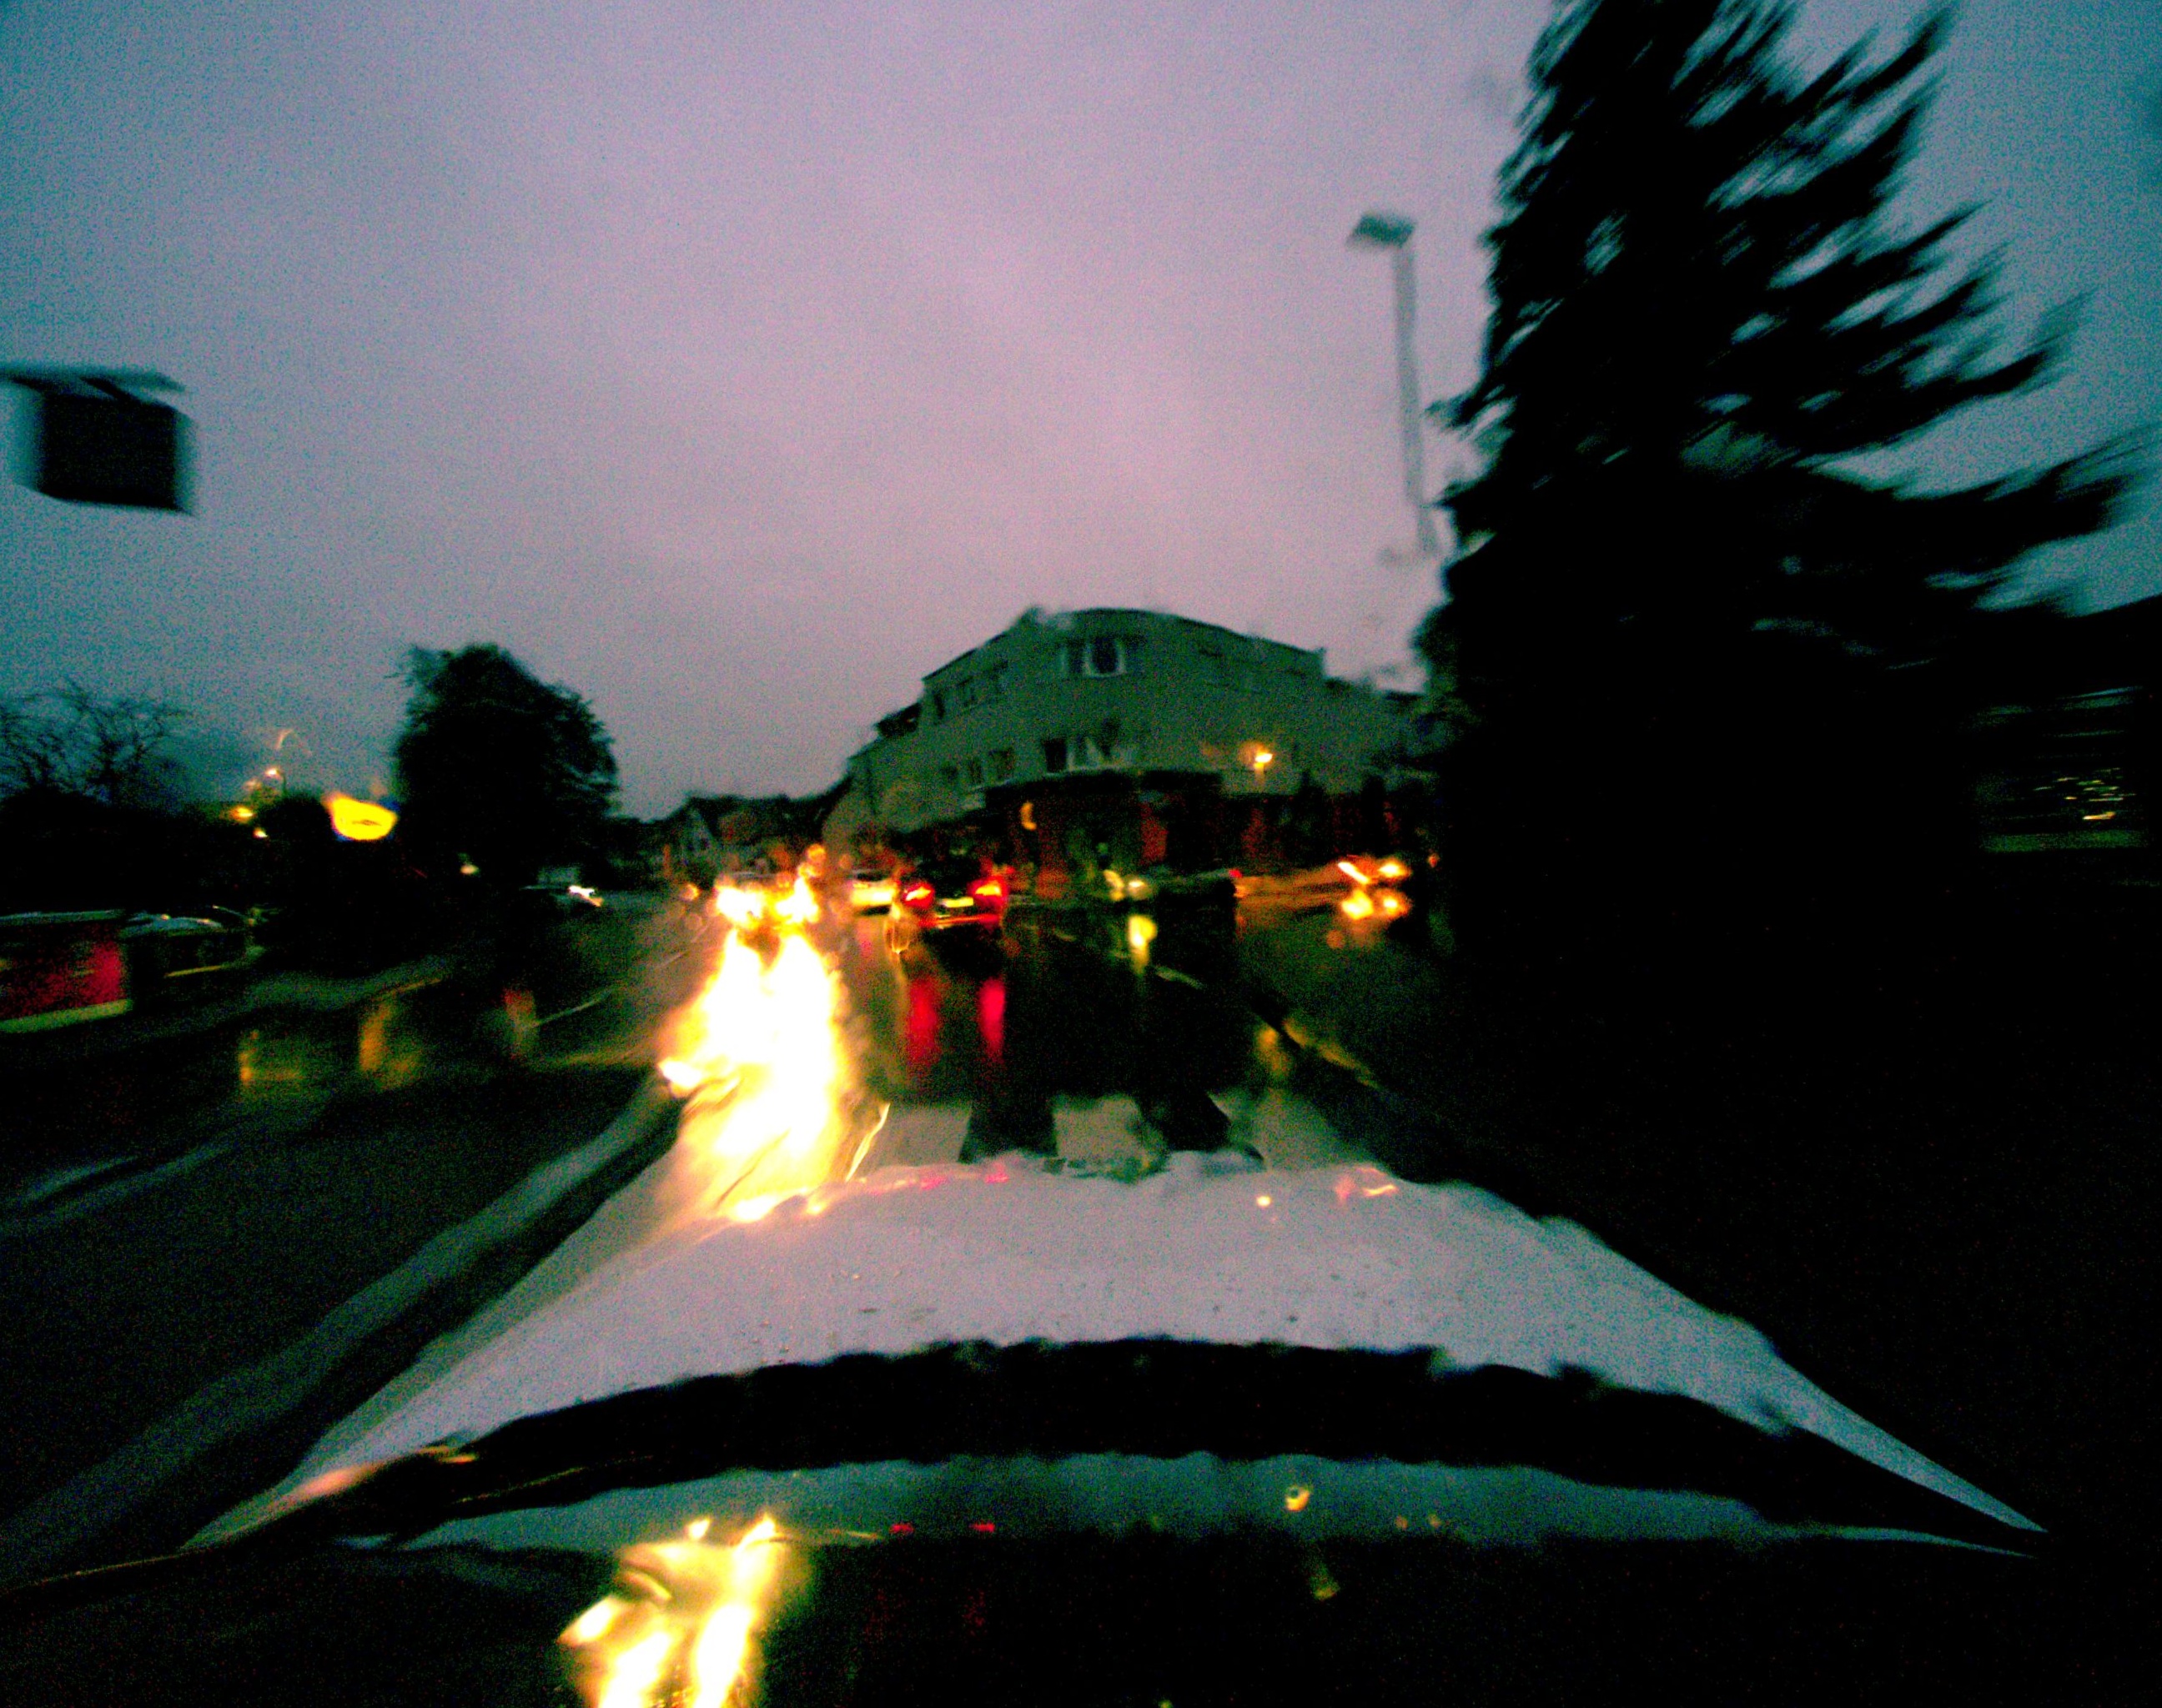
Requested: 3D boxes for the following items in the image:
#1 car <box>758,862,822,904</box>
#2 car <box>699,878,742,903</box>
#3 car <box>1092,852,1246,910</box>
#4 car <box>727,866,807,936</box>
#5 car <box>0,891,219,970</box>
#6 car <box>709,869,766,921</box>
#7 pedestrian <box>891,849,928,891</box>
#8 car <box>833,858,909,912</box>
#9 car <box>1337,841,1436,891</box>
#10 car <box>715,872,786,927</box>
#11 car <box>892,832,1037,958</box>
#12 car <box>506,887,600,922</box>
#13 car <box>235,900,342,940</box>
[{"bbox_3d":[-15.786,1.574,43.959,2.324,1.938,4.970,-5,0,-29],"label":"car"},{"bbox_3d":[-22.883,2.292,51.663,1.855,1.331,3.897,-5,1,-32],"label":"car"},{"bbox_3d":[2.543,0.695,23.064,4.202,1.441,1.778,-1,0,-35],"label":"car"},{"bbox_3d":[-8.005,1.132,20.864,1.669,1.486,3.972,-4,0,-21],"label":"car"},{"bbox_3d":[-27.556,2.096,22.540,4.812,1.711,2.009,-4,1,-41],"label":"car"},{"bbox_3d":[-13.042,1.482,30.786,1.780,1.723,4.385,-4,0,-25],"label":"car"},{"bbox_3d":[-8.367,0.783,39.672,1.263,1.865,1.290,-6,1,-31],"label":"pedestrian"},{"bbox_3d":[-7.383,1.032,28.351,1.867,1.647,3.967,-3,0,-24],"label":"car"},{"bbox_3d":[11.884,0.456,31.561,2.022,1.788,4.155,-3,-2,44],"label":"car"},{"bbox_3d":[-10.796,1.410,26.475,1.781,1.495,4.007,-4,0,-26],"label":"car"},{"bbox_3d":[-2.523,0.705,16.280,2.313,1.938,4.995,-5,0,-13],"label":"car"},{"bbox_3d":[-29.310,2.752,45.265,4.260,1.699,1.878,-1,-2,-38],"label":"car"},{"bbox_3d":[-49.430,4.065,50.851,2.101,1.977,4.689,-1,0,44],"label":"car"}]
